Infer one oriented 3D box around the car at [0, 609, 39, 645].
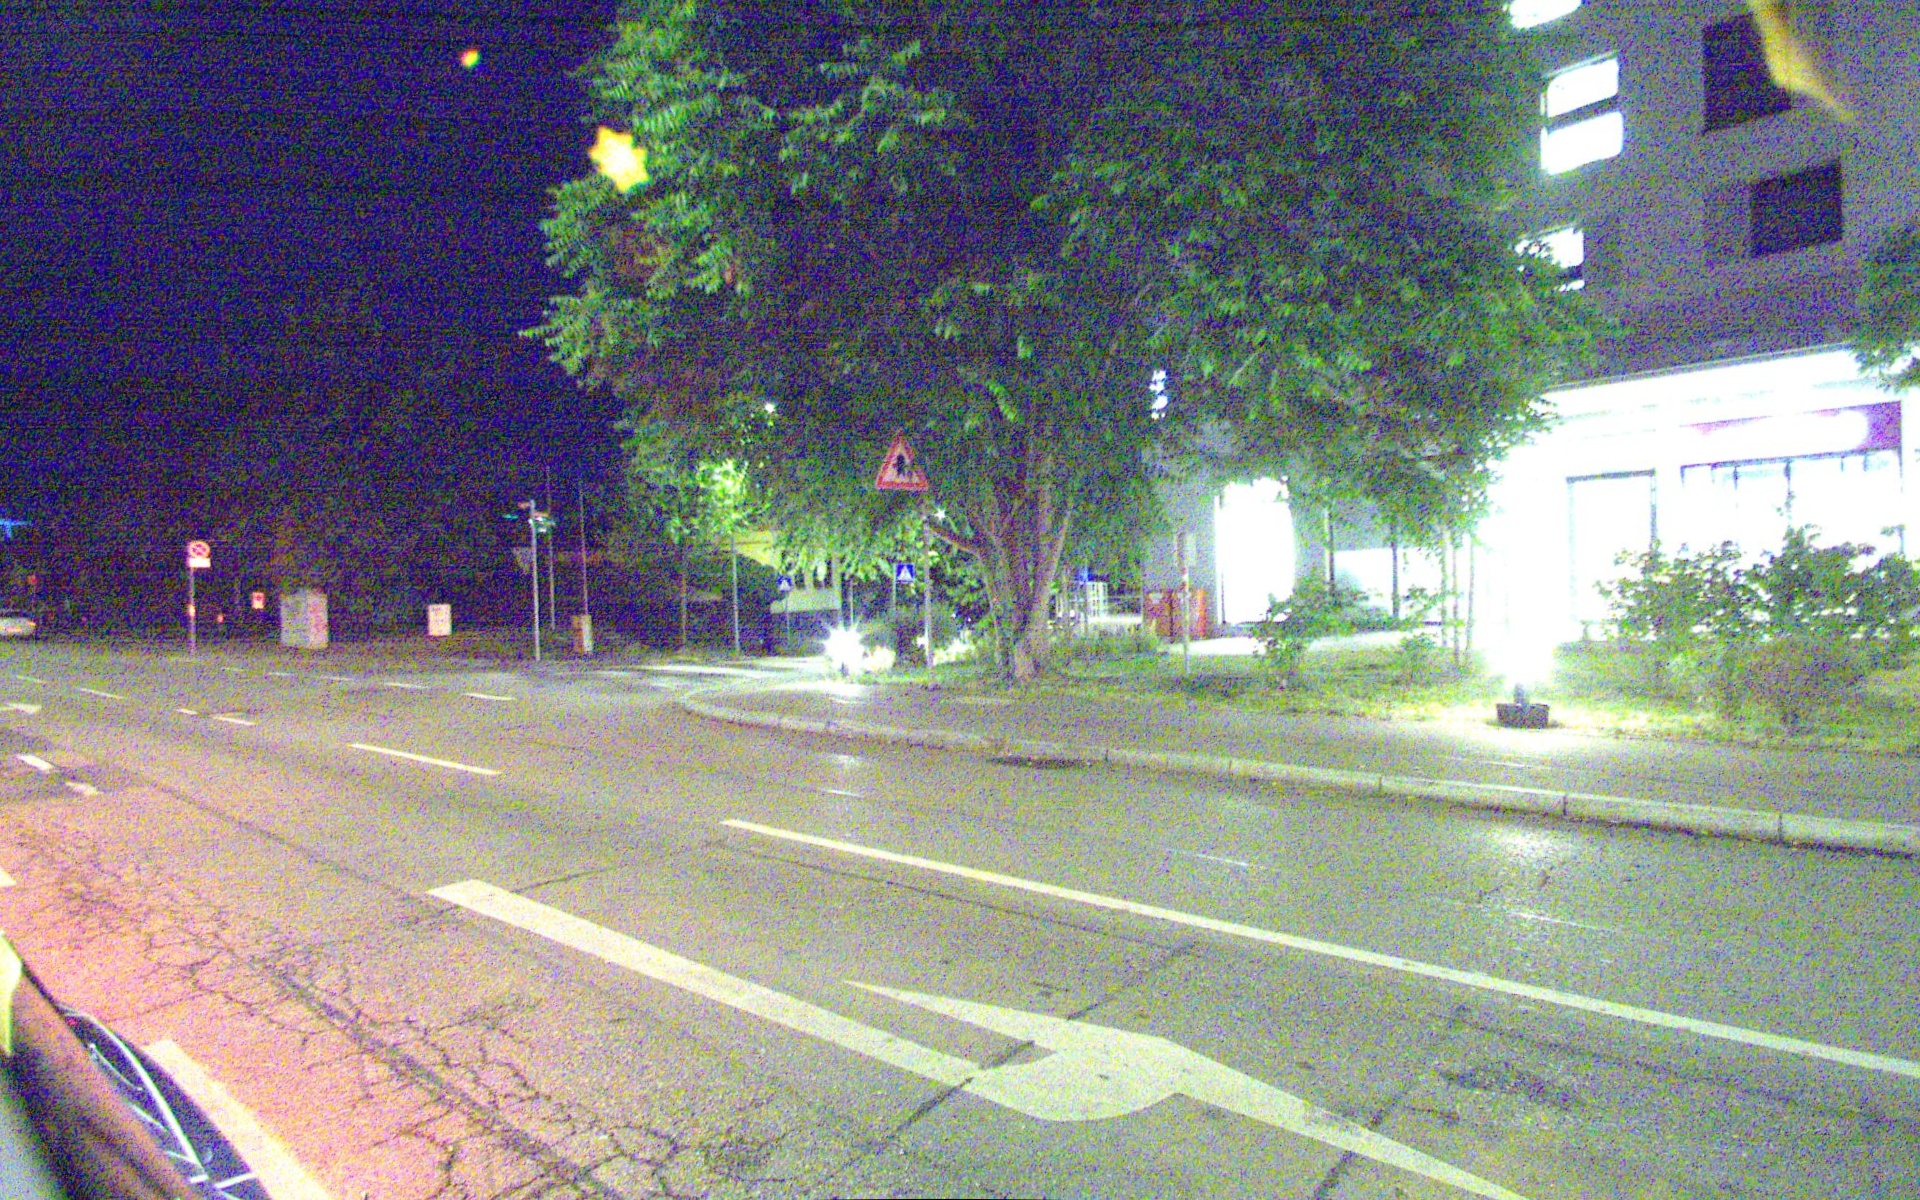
[{"bbox_3d":[-43.256,1.215,45.780,3.998,1.464,1.887,1,2,41],"label":"car"}]
